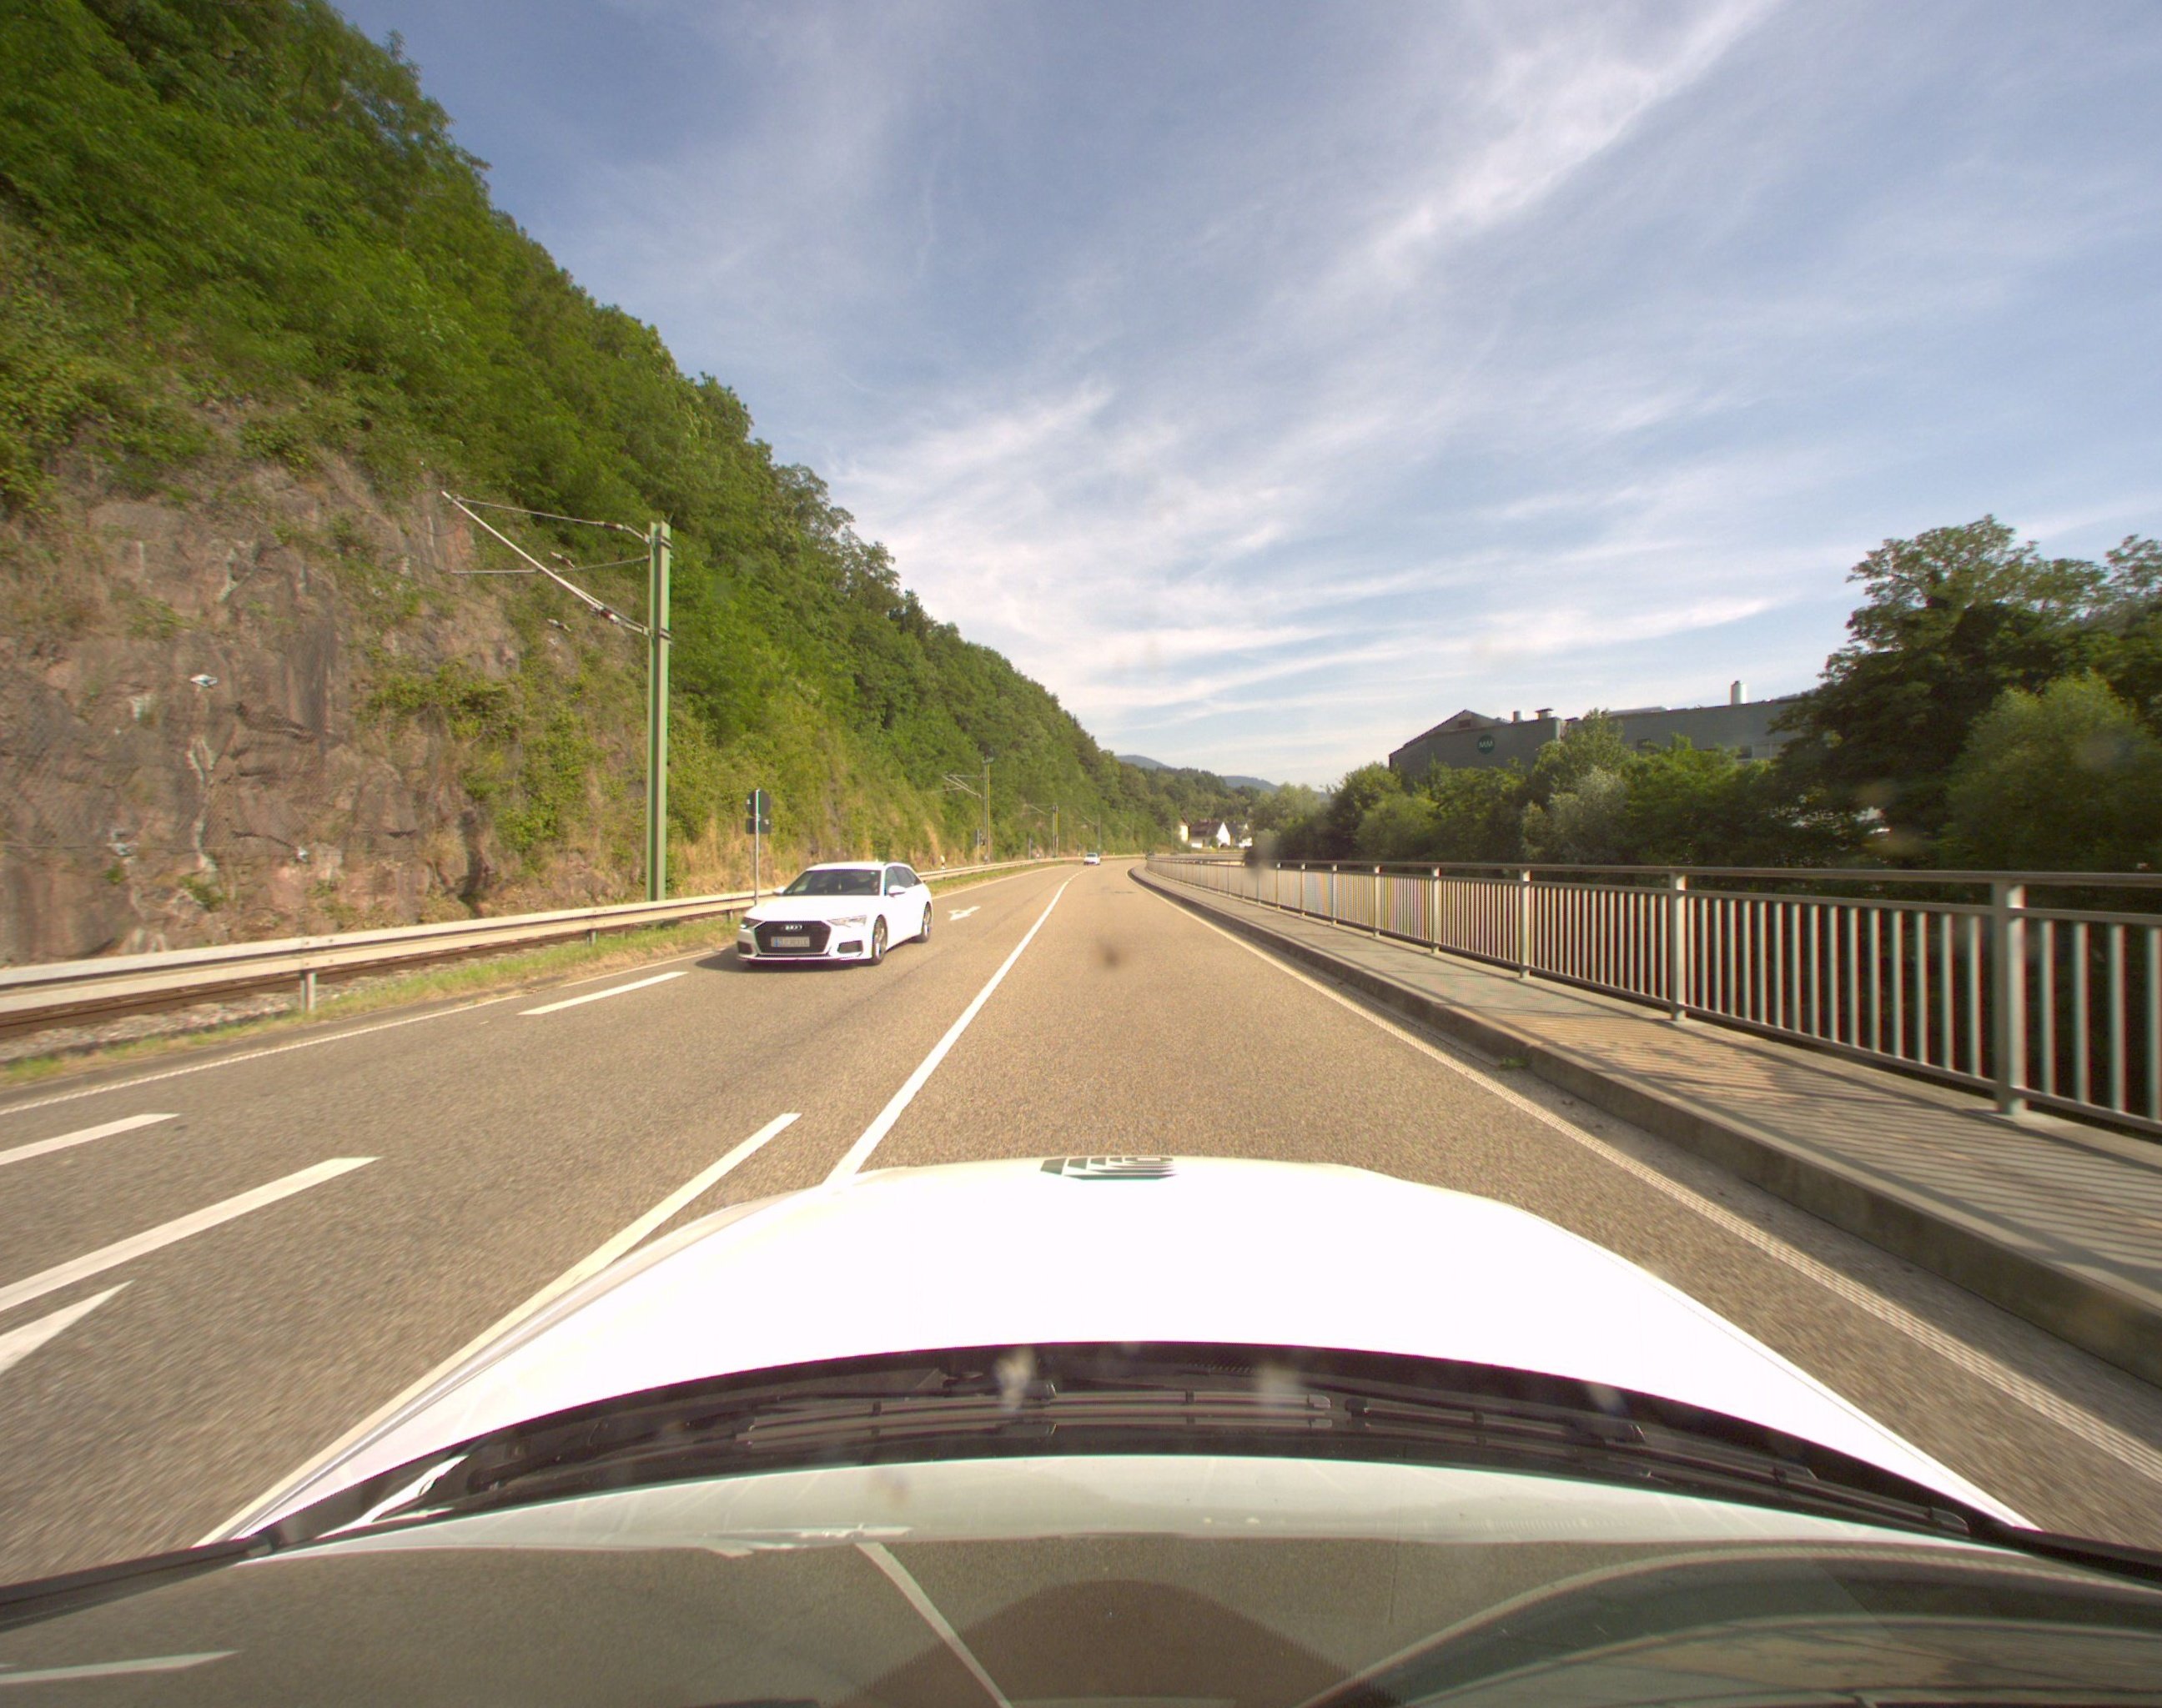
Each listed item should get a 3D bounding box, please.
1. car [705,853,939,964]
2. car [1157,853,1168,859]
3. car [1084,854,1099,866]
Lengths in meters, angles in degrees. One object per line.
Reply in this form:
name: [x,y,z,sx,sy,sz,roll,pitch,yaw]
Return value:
car: [-3.806,0.721,13.016,2.055,1.439,4.689,0,0,2]
car: [19.982,0.588,198.743,1.833,1.402,4.496,-1,0,17]
car: [1.350,0.788,105.518,1.840,1.544,4.605,-1,0,1]
